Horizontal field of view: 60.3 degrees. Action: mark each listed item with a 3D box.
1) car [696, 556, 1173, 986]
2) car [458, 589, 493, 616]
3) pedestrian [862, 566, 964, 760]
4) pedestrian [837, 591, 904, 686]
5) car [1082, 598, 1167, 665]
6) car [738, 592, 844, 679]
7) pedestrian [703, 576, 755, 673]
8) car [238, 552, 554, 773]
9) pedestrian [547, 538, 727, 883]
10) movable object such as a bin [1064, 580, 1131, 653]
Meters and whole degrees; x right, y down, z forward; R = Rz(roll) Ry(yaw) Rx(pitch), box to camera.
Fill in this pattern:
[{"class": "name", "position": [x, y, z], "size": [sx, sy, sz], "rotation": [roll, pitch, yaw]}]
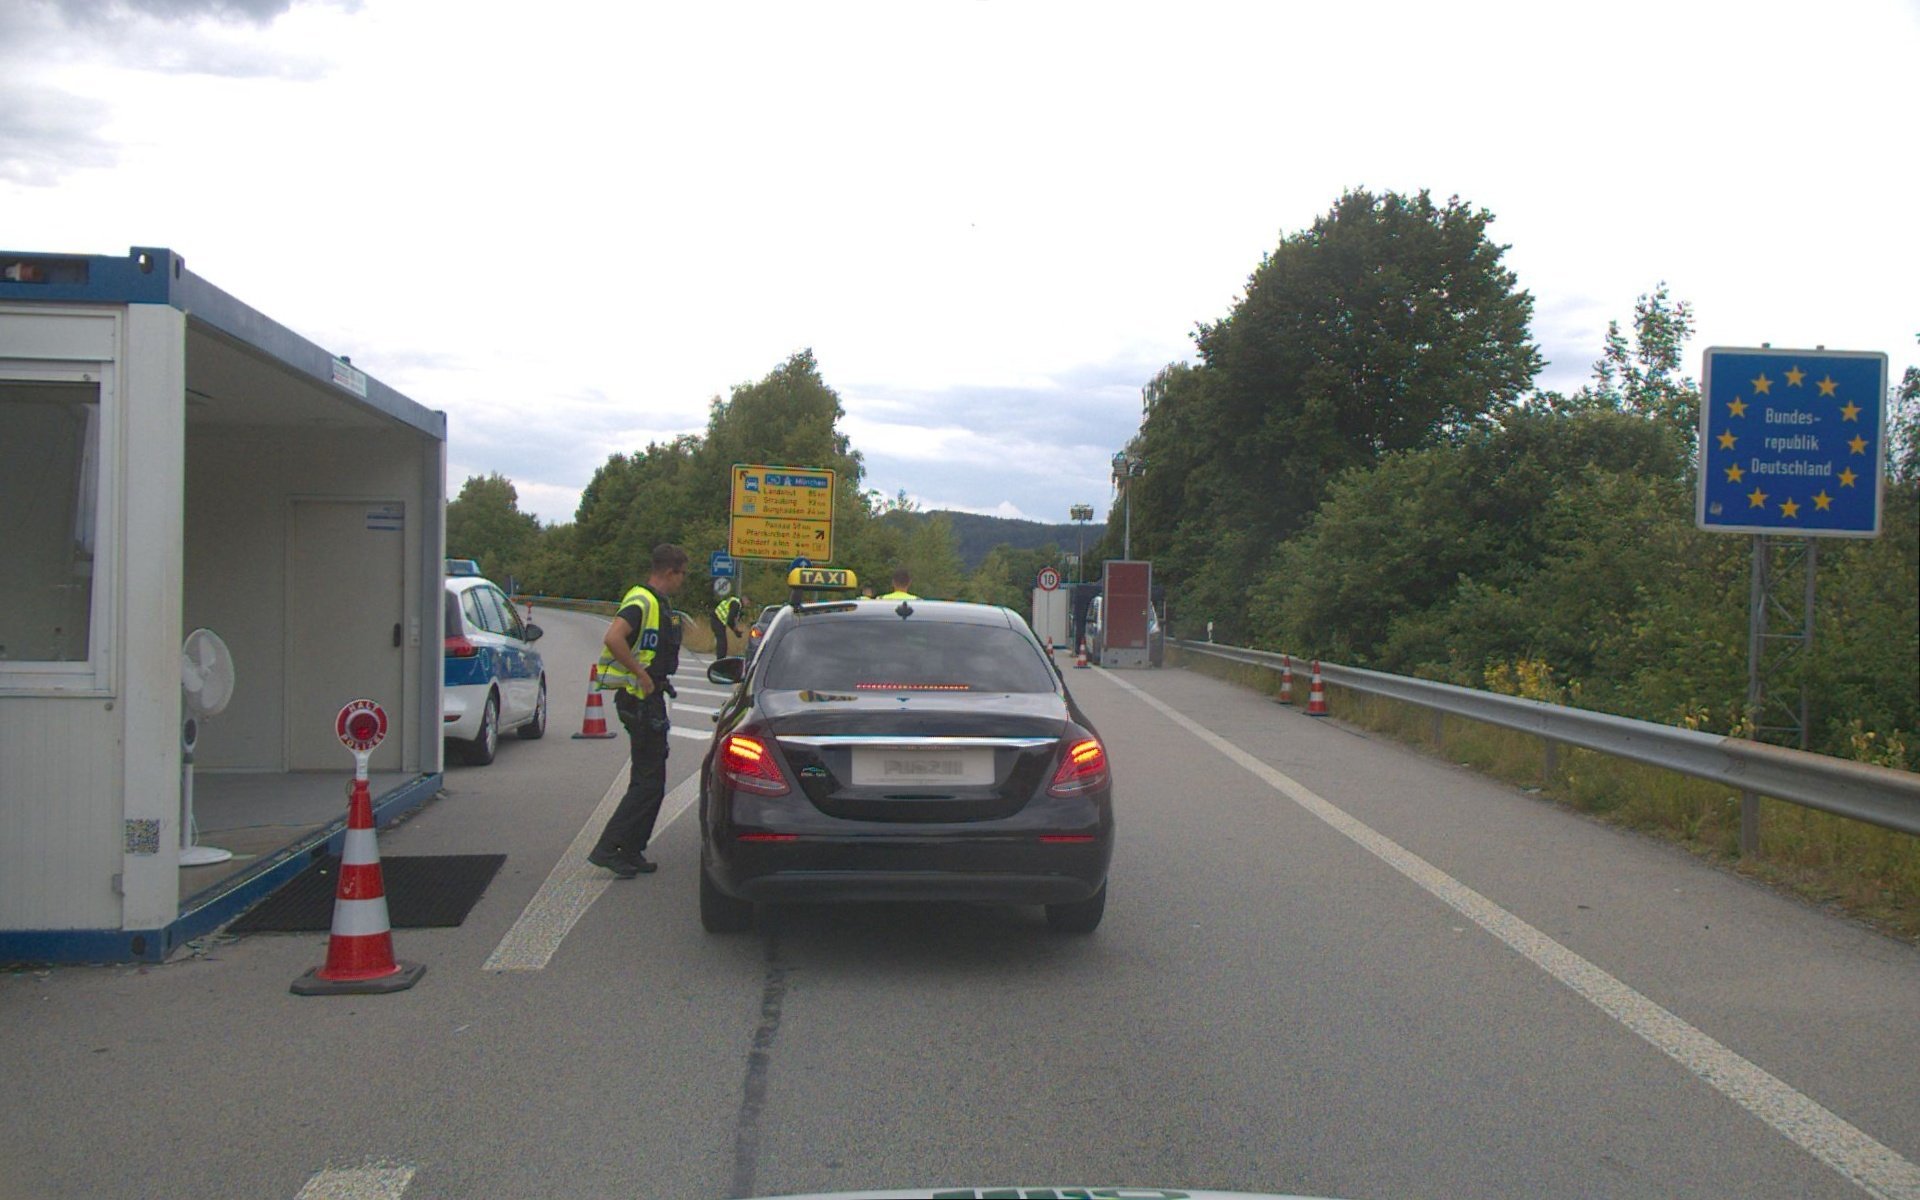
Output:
[{"class": "car", "position": [-0.290, 0.652, 8.520], "size": [1.819, 1.623, 4.370], "rotation": [1, 0, -6]}, {"class": "car", "position": [-27.969, 0.127, 95.485], "size": [1.825, 1.524, 4.239], "rotation": [1, 0, -15]}, {"class": "pedestrian", "position": [-0.455, 0.606, 16.356], "size": [0.795, 1.862, 0.810], "rotation": [0, 0, 16]}, {"class": "pedestrian", "position": [-1.661, 0.707, 30.597], "size": [0.900, 1.727, 0.903], "rotation": [1, -1, -33]}, {"class": "car", "position": [4.557, 0.840, 46.482], "size": [1.877, 1.707, 5.083], "rotation": [3, 0, 0]}, {"class": "car", "position": [-3.126, 0.622, 31.333], "size": [1.818, 1.524, 4.253], "rotation": [1, 0, -4]}, {"class": "pedestrian", "position": [-4.351, 0.452, 31.214], "size": [0.893, 1.800, 0.911], "rotation": [1, 0, -4]}, {"class": "car", "position": [-5.052, 0.508, 15.397], "size": [1.832, 1.774, 4.004], "rotation": [1, 0, -5]}, {"class": "pedestrian", "position": [-1.694, 0.564, 8.786], "size": [0.799, 1.748, 0.762], "rotation": [0, 0, -1]}, {"class": "movable object such as a bin", "position": [4.565, 0.534, 55.326], "size": [1.952, 2.320, 4.168], "rotation": [1, 0, 1]}]
